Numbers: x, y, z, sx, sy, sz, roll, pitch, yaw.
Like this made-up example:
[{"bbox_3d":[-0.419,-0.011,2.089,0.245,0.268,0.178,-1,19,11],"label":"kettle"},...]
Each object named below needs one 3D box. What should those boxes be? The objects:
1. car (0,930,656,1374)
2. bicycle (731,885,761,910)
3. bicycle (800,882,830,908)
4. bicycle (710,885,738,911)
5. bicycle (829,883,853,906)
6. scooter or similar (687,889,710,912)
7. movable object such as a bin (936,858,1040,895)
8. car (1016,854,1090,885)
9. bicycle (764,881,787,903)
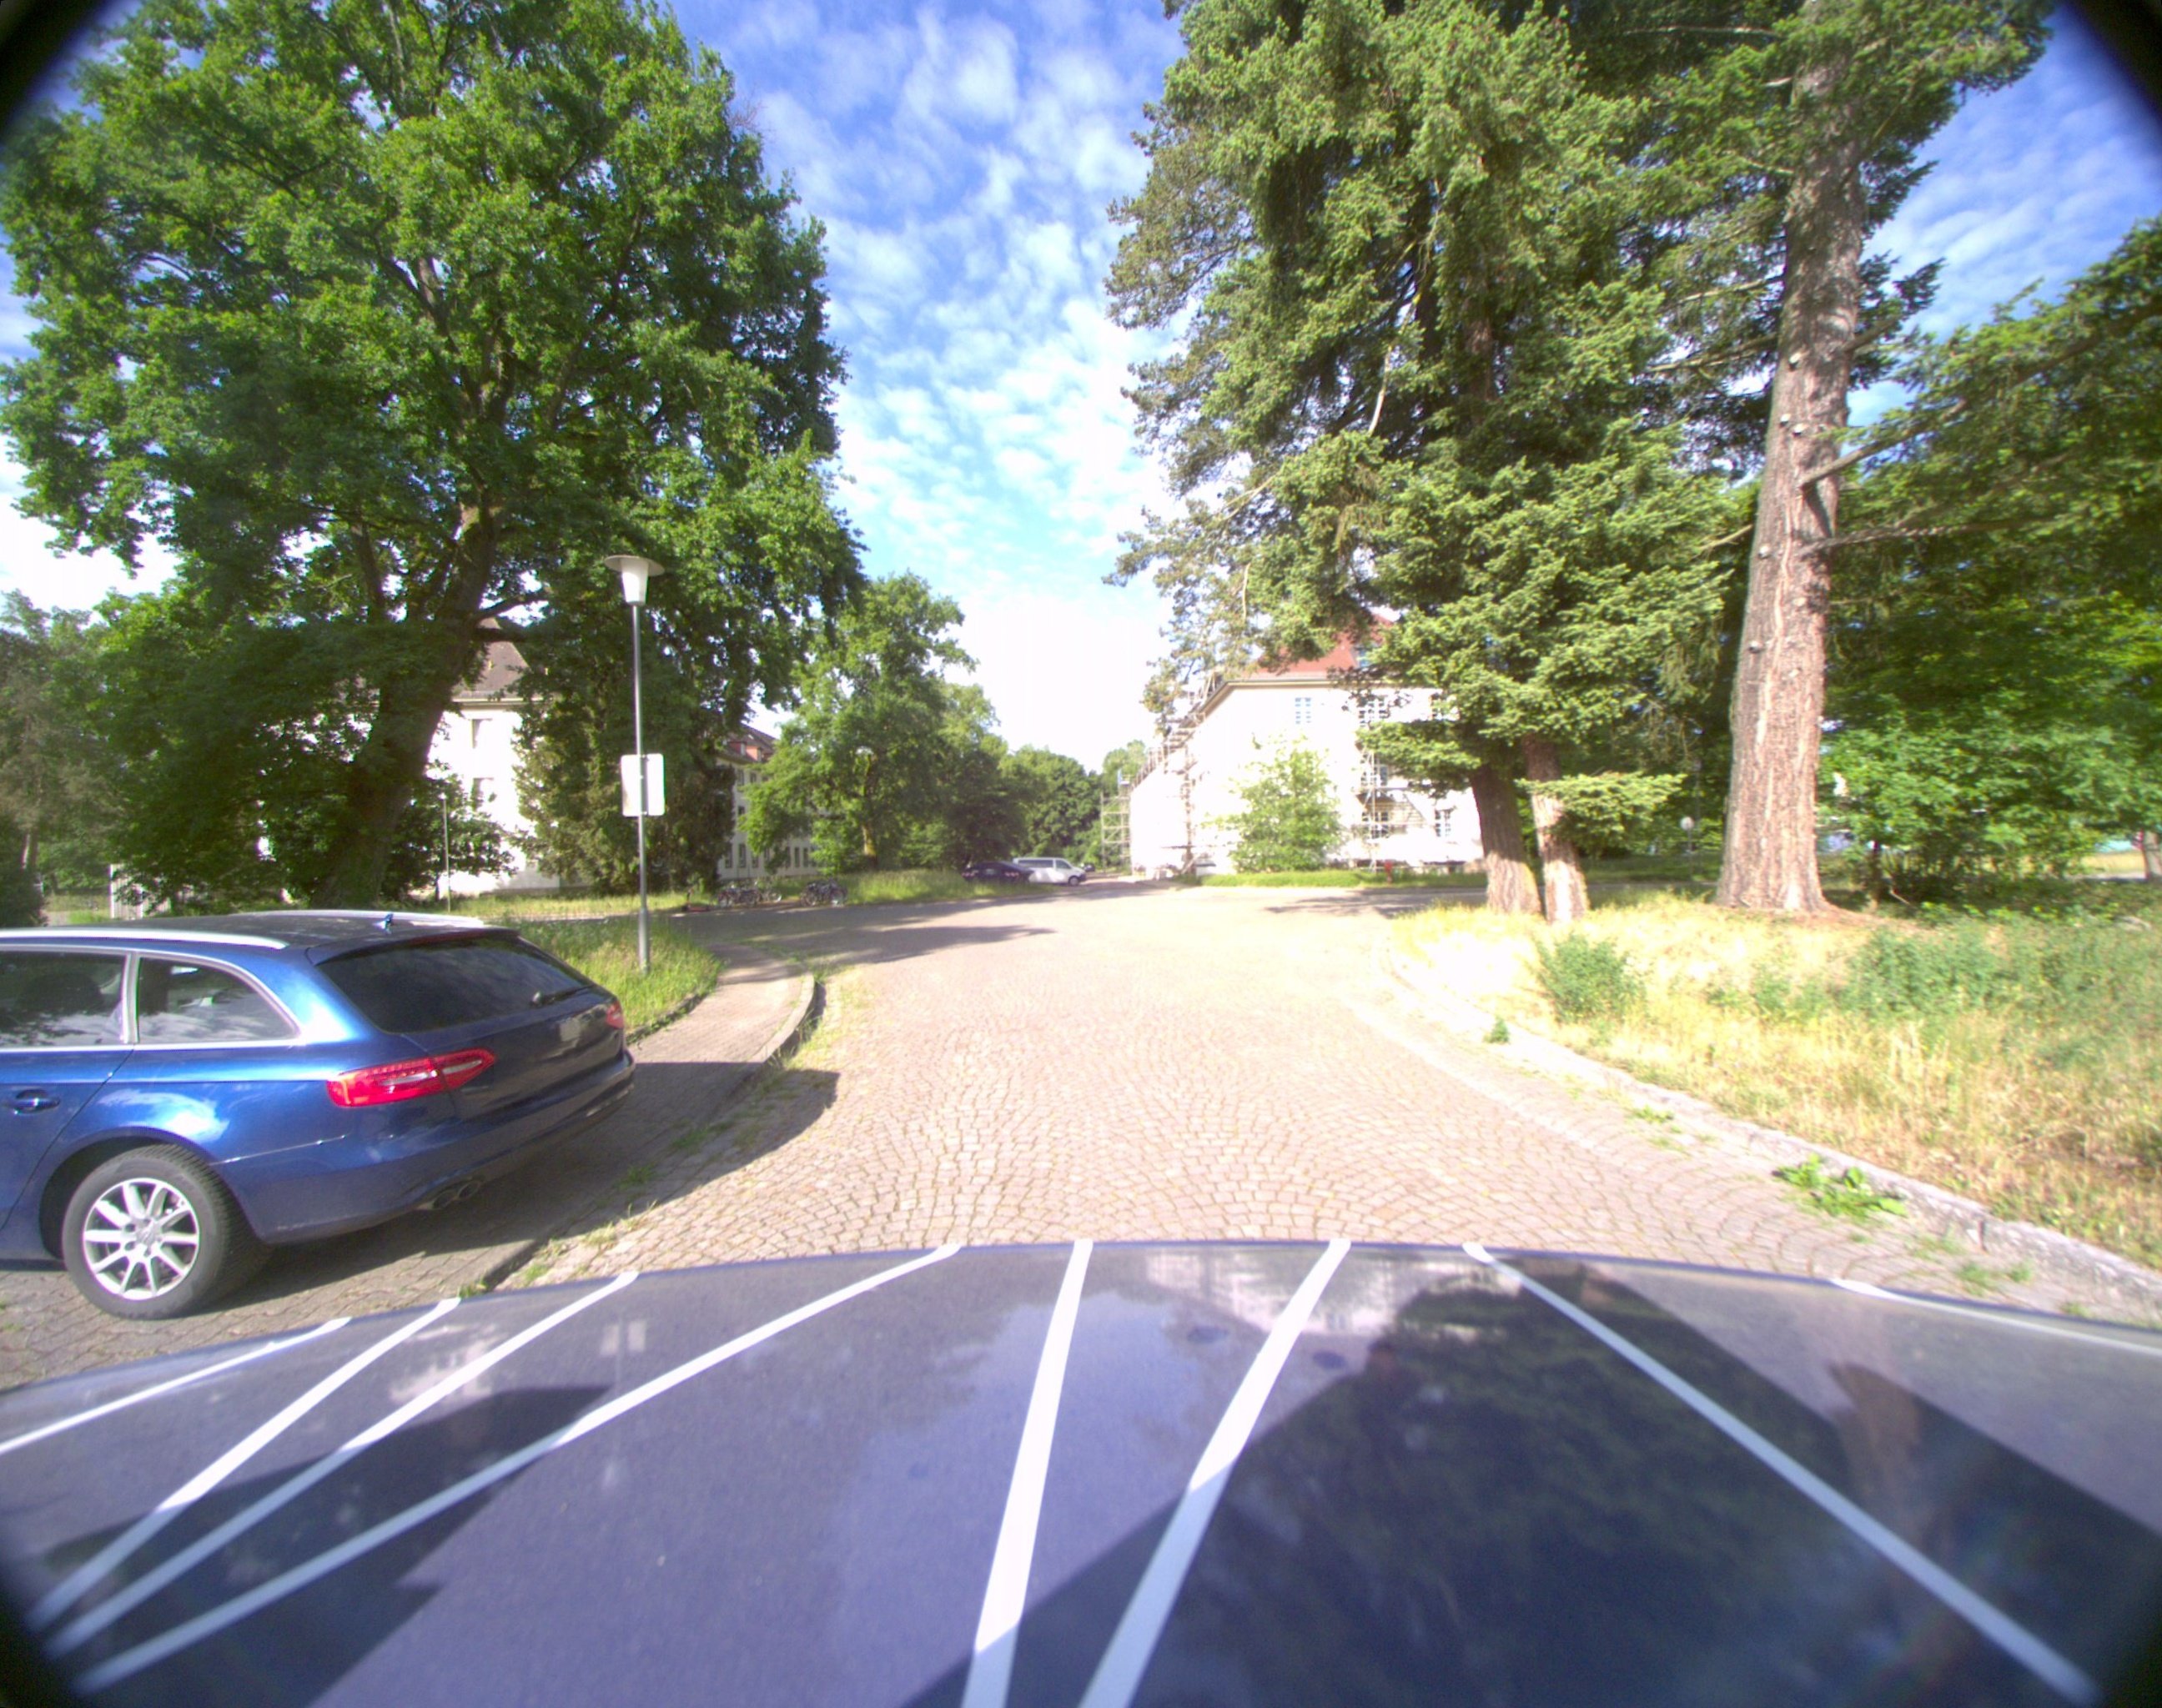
[{"bbox_3d":[-4.689,1.140,3.526,4.461,1.399,1.714,0,0,0],"label":"car"},{"bbox_3d":[-14.328,1.847,32.518,0.710,1.010,1.028,-2,0,6],"label":"bicycle"},{"bbox_3d":[-11.166,1.719,31.938,0.710,1.010,1.256,-2,0,6],"label":"bicycle"},{"bbox_3d":[-15.081,1.857,32.122,0.619,1.010,1.027,-2,0,1],"label":"bicycle"},{"bbox_3d":[-10.217,1.710,32.371,0.747,0.929,1.140,-2,0,-5],"label":"bicycle"},{"bbox_3d":[-15.783,1.927,31.357,0.770,0.923,0.261,-2,0,-8],"label":"scooter or similar"},{"bbox_3d":[-4.797,1.143,39.398,4.932,1.749,2.002,-2,0,13],"label":"movable object such as a bin"},{"bbox_3d":[-1.909,1.062,52.450,4.937,2.002,2.000,-2,0,-1],"label":"car"},{"bbox_3d":[-14.728,1.807,36.629,0.712,1.010,1.024,-2,0,-39],"label":"bicycle"}]
